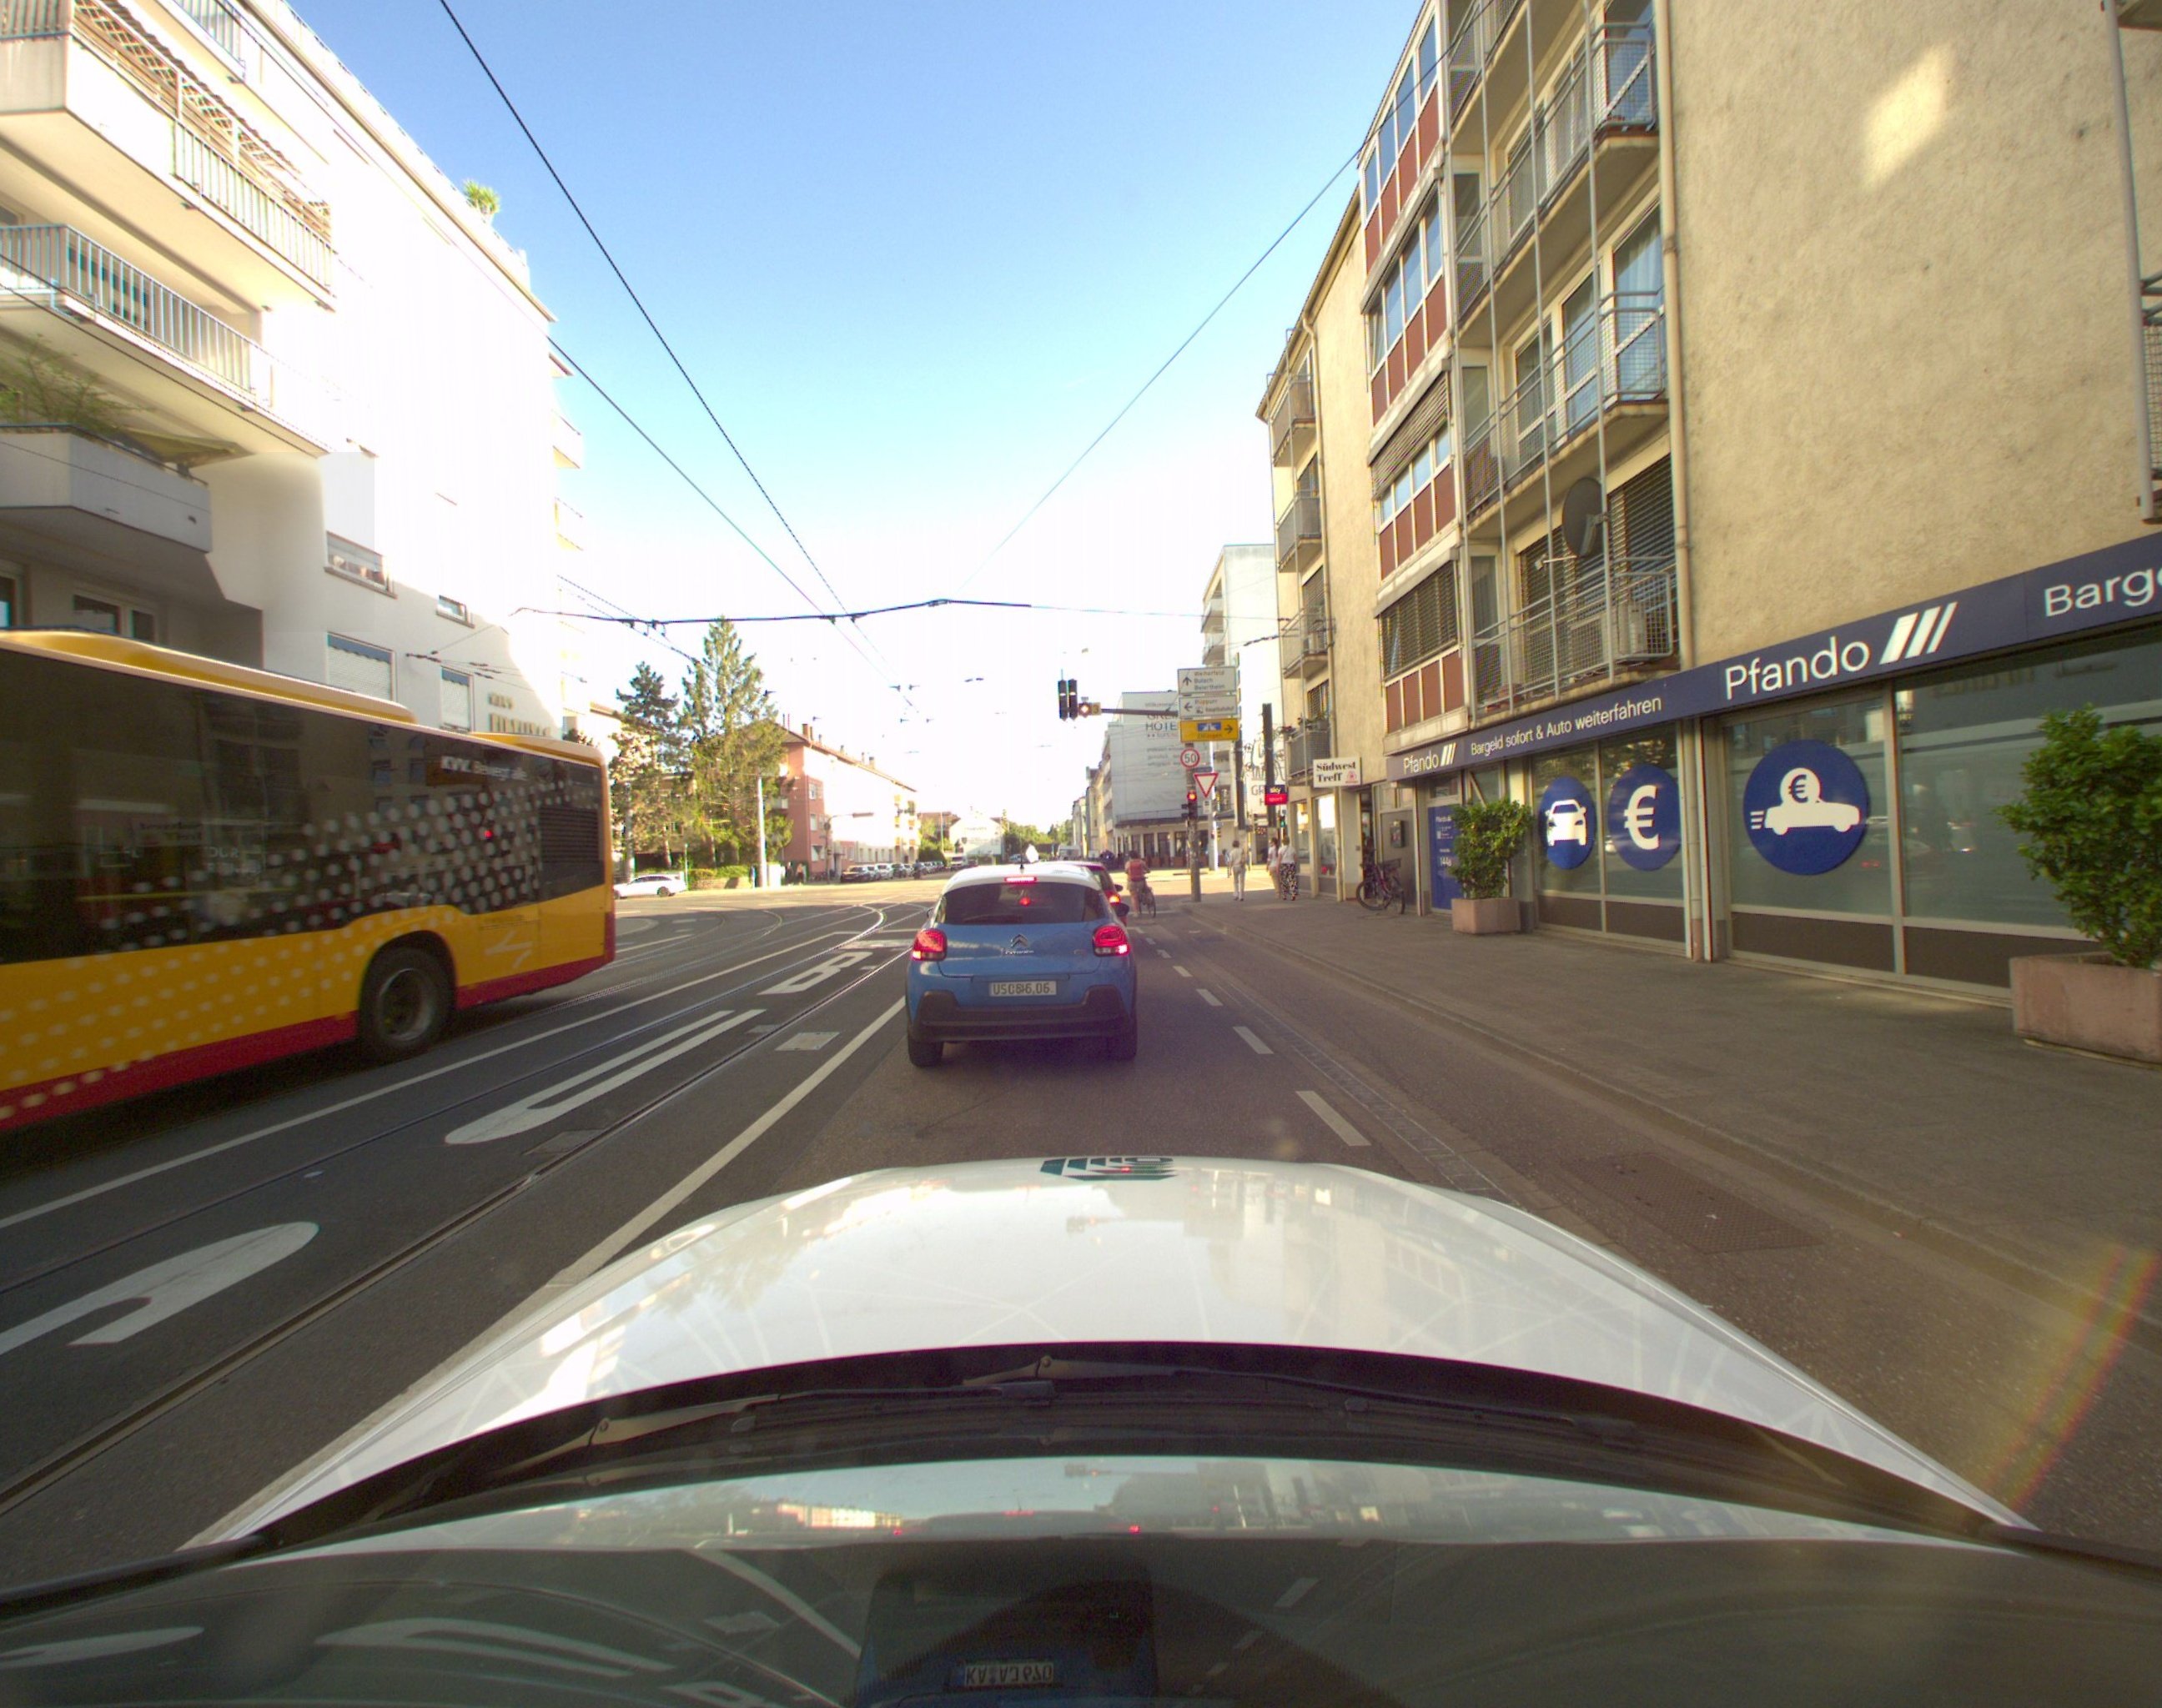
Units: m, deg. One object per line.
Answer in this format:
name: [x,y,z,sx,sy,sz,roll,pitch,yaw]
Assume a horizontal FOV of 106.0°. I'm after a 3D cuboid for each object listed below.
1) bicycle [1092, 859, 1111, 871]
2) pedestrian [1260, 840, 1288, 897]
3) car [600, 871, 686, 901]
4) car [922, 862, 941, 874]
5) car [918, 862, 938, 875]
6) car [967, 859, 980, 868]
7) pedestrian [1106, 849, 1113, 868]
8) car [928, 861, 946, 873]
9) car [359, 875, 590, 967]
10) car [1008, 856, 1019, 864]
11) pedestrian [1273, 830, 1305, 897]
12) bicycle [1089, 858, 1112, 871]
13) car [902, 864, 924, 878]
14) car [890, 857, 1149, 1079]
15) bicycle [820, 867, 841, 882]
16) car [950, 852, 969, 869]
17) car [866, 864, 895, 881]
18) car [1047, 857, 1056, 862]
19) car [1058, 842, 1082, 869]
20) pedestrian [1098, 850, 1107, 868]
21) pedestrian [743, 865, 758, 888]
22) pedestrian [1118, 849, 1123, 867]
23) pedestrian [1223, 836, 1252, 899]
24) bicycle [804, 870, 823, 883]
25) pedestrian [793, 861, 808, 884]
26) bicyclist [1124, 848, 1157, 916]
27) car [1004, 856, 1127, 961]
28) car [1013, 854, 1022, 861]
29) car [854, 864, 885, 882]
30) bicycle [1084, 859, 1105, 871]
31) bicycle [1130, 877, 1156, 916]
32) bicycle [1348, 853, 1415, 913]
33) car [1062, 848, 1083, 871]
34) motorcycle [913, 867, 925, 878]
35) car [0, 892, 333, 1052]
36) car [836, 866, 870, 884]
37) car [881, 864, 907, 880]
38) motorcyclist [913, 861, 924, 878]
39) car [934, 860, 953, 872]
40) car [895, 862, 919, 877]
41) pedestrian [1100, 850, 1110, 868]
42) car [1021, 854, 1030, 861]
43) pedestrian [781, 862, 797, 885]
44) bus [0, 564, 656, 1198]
bicycle: [1.662,0.882,66.127,1.497,0.957,0.702,-3,0,3]
pedestrian: [5.270,0.387,22.275,0.539,1.507,0.611,-4,1,0]
car: [-27.887,2.013,51.971,4.390,1.574,1.848,-3,0,-12]
car: [-20.531,1.894,111.765,1.906,1.497,3.997,-3,0,-2]
car: [-20.029,1.849,106.751,1.906,1.497,3.997,-3,0,-2]
car: [-19.139,1.729,145.177,2.016,1.525,3.997,-2,0,-2]
pedestrian: [2.462,0.371,69.843,0.490,1.556,0.383,-3,0,-2]
car: [-20.614,1.874,116.863,1.865,1.574,3.997,-2,0,-2]
car: [-11.871,1.225,16.327,1.740,1.509,3.996,-1,0,-2]
car: [-14.064,1.315,169.992,2.016,1.525,3.997,-2,0,-2]
pedestrian: [5.320,0.237,20.862,0.539,1.672,0.650,-4,0,0]
bicycle: [1.606,0.889,67.189,1.866,0.957,0.702,-3,0,3]
car: [-20.216,2.058,98.344,1.906,1.497,3.997,-3,0,-2]
car: [-0.546,0.772,7.564,1.740,1.462,3.994,-1,0,-4]
bicycle: [-22.813,1.876,74.317,0.845,1.225,3.304,-2,0,0]
car: [-17.877,0.939,119.955,2.201,2.251,4.673,-3,0,-2]
car: [-19.586,1.778,79.824,1.906,1.497,3.997,-3,0,-2]
car: [-6.941,1.305,190.413,1.752,1.259,3.825,-2,0,-5]
car: [-1.004,0.151,72.650,1.988,2.325,3.998,-1,0,-1]
pedestrian: [1.996,0.445,74.433,0.648,1.556,0.490,-2,0,-20]
pedestrian: [-23.776,1.634,58.571,0.854,1.625,0.510,-2,0,-32]
pedestrian: [3.409,0.348,70.248,0.284,1.556,0.304,-2,0,-7]
pedestrian: [4.252,0.358,22.154,0.539,1.672,0.624,-4,1,0]
bicycle: [-22.466,1.864,68.471,0.730,0.952,2.597,-2,0,0]
pedestrian: [-21.298,1.425,61.854,0.840,1.690,0.738,-2,0,4]
bicyclist: [1.487,0.684,20.394,0.723,1.646,0.790,-2,0,1]
car: [-0.160,0.796,13.782,1.732,1.420,4.002,-2,0,2]
car: [-14.672,0.837,188.063,2.016,1.525,3.997,-3,0,-2]
car: [-19.523,1.725,75.196,1.906,1.497,3.997,-3,0,-2]
bicycle: [1.127,0.913,68.560,1.713,0.957,0.702,-3,0,3]
bicycle: [1.568,1.065,20.749,0.497,0.864,1.748,-2,0,0]
bicycle: [5.764,0.534,15.719,0.528,1.072,1.810,-2,0,-1]
car: [-0.723,0.460,67.723,1.727,1.750,3.212,-1,0,-1]
motorcycle: [-13.485,1.553,67.773,0.613,0.864,1.671,-2,0,2]
car: [-12.007,1.315,10.001,1.694,1.509,4.310,-1,-1,-1]
car: [-19.428,1.768,69.463,1.907,1.433,3.995,-3,0,-4]
car: [-19.811,1.884,86.616,1.906,1.497,3.997,-3,0,-2]
motorcyclist: [-13.492,1.265,67.619,0.716,1.378,0.912,-2,0,2]
car: [-20.570,1.810,122.292,2.024,1.619,4.509,-3,0,-1]
car: [-19.811,1.749,92.760,1.906,1.497,3.997,-3,0,-2]
pedestrian: [2.119,0.430,72.626,0.648,1.556,0.490,-2,0,-20]
car: [-14.756,0.951,216.144,1.992,1.684,3.989,-3,0,-8]
pedestrian: [-22.228,1.490,61.935,0.840,1.690,0.738,-2,0,4]
bus: [-6.852,0.175,6.794,2.731,3.161,7.571,-2,0,-2]
